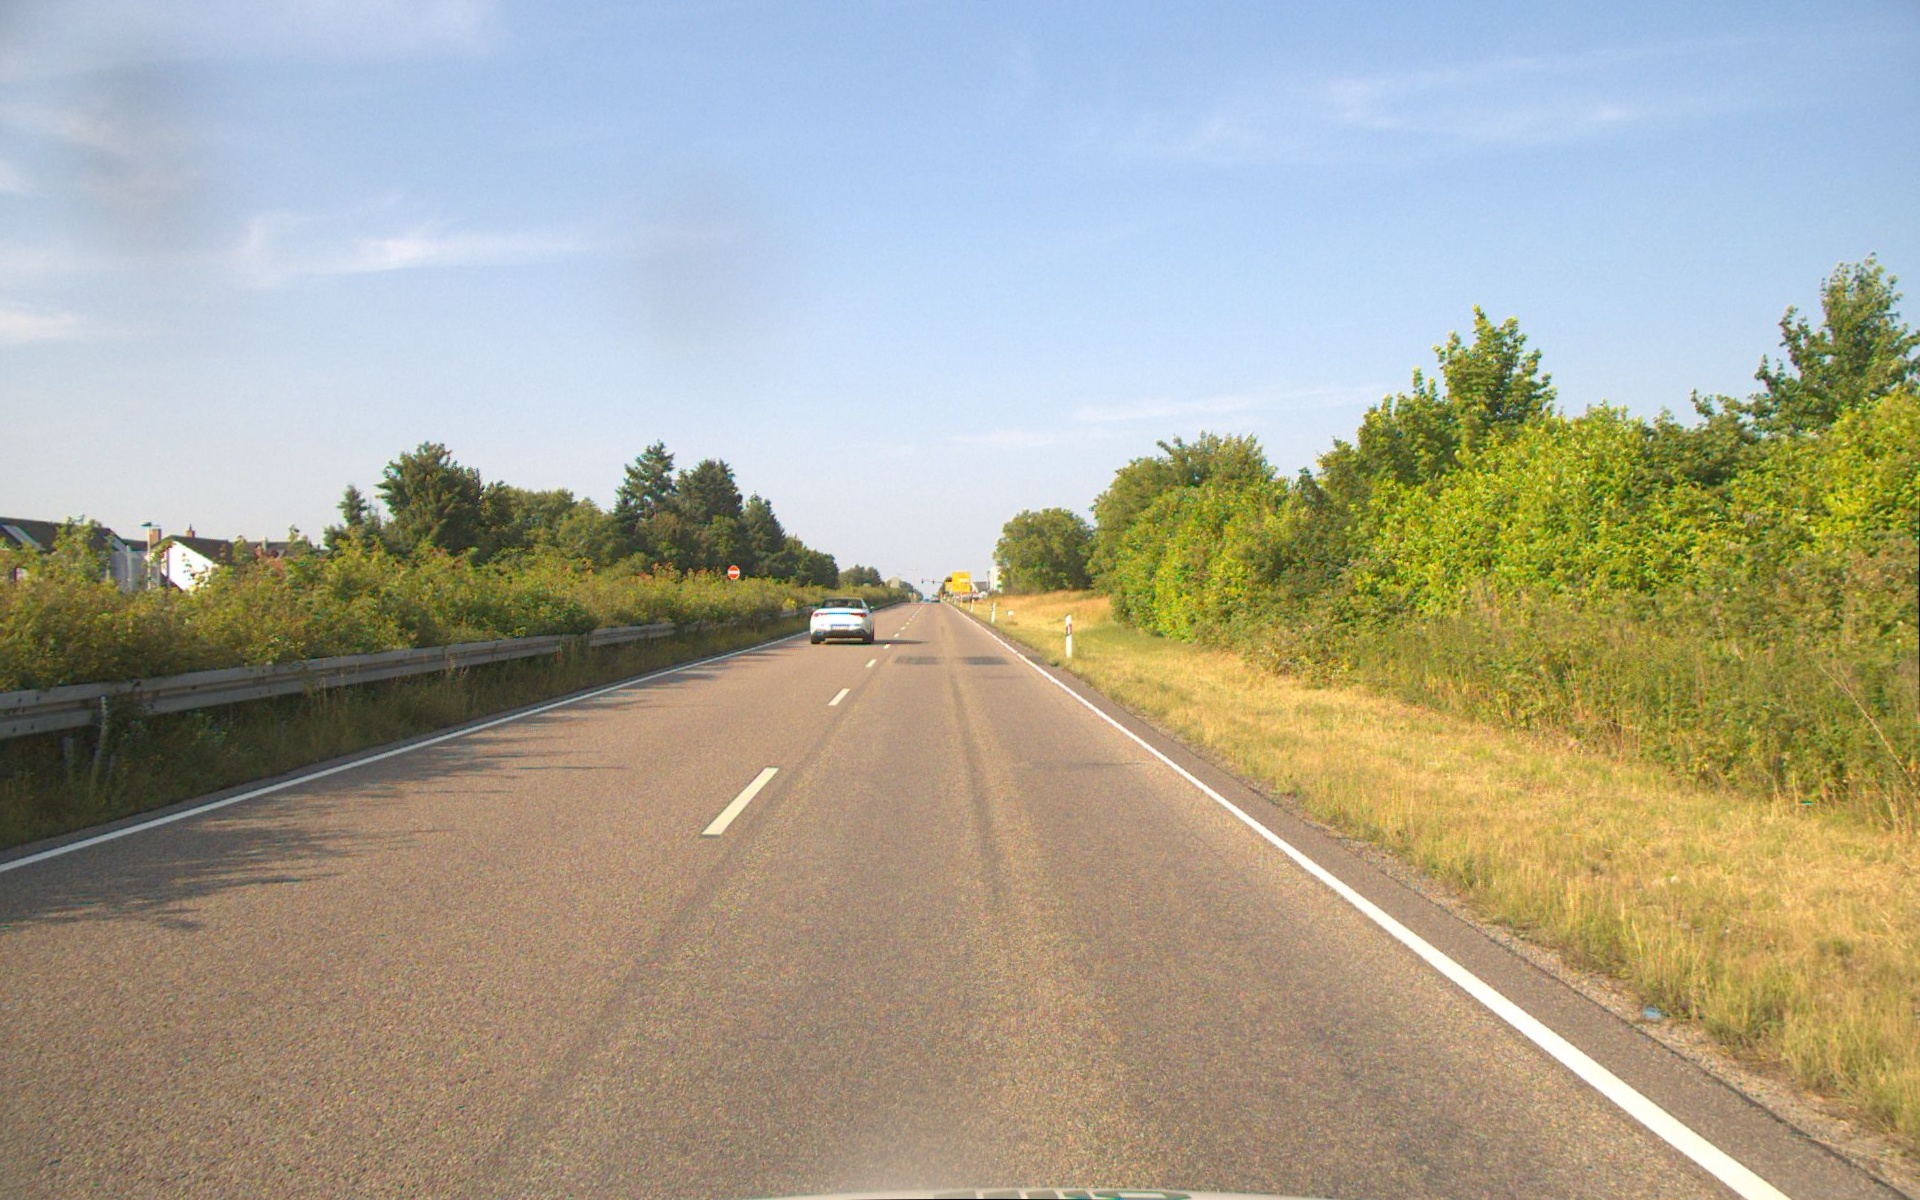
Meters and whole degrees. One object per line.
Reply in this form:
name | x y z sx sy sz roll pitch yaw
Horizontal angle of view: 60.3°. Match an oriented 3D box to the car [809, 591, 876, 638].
car | -3.574 0.431 50.951 1.735 1.361 4.949 1 0 -1
